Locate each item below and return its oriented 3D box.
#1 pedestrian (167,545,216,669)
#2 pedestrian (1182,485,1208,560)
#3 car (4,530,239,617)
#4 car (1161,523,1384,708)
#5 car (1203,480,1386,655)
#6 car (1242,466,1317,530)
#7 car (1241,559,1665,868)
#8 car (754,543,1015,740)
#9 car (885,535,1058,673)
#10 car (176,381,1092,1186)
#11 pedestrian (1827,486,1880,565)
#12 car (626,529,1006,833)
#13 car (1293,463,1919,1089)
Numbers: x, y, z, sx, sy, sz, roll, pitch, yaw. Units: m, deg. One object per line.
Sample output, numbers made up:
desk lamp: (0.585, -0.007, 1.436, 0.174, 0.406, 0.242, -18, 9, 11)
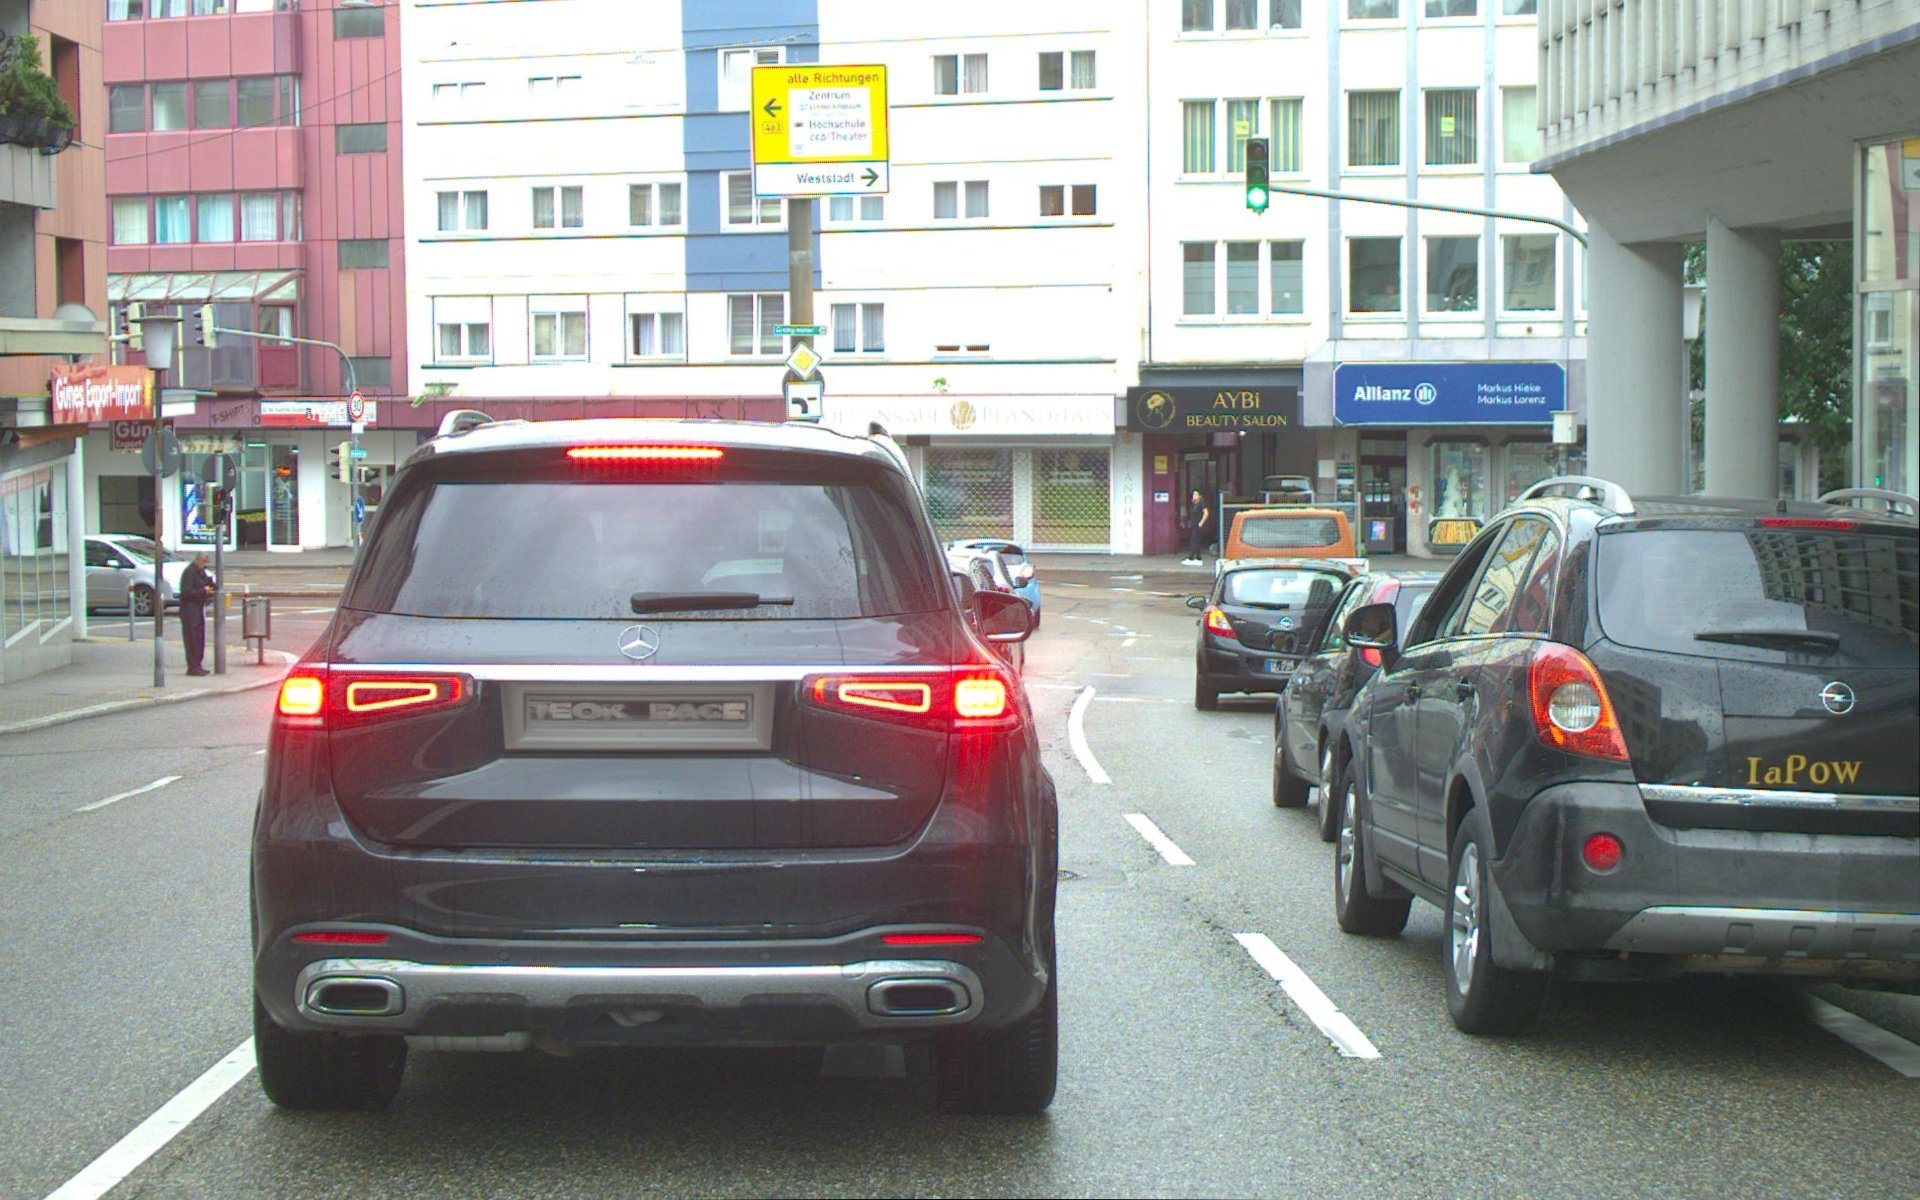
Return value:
pedestrian: (-10.575, 0.085, 47.317, 0.554, 1.691, 0.624, 0, 1, -4)
pedestrian: (5.479, -1.802, 80.044, 0.564, 1.683, 0.756, 0, 7, 6)
car: (-16.517, -0.536, 67.765, 4.165, 1.587, 1.740, 2, 2, 15)
car: (3.003, 0.127, 33.819, 1.823, 1.653, 4.495, 1, 0, 1)
car: (4.518, -0.455, 47.255, 2.243, 2.220, 5.428, 1, 1, 3)
car: (8.598, -2.732, 92.357, 1.797, 1.664, 3.999, -1, 1, 8)
car: (2.616, 0.541, 19.102, 1.767, 1.392, 4.000, 4, 1, 1)
car: (-0.604, 0.285, 28.586, 1.993, 1.481, 4.237, -1, 1, -1)
car: (0.095, 0.056, 41.606, 1.924, 1.510, 4.663, 2, 0, -1)
car: (-0.826, 0.372, 10.109, 2.038, 1.793, 4.663, 1, 1, -2)
pedestrian: (19.953, -1.664, 76.763, 1.030, 1.683, 0.830, 0, 7, 8)
car: (-0.805, 0.361, 19.395, 1.873, 1.489, 4.401, 1, 1, -2)
car: (2.419, 0.466, 11.841, 1.897, 1.689, 4.506, 3, 1, -2)
